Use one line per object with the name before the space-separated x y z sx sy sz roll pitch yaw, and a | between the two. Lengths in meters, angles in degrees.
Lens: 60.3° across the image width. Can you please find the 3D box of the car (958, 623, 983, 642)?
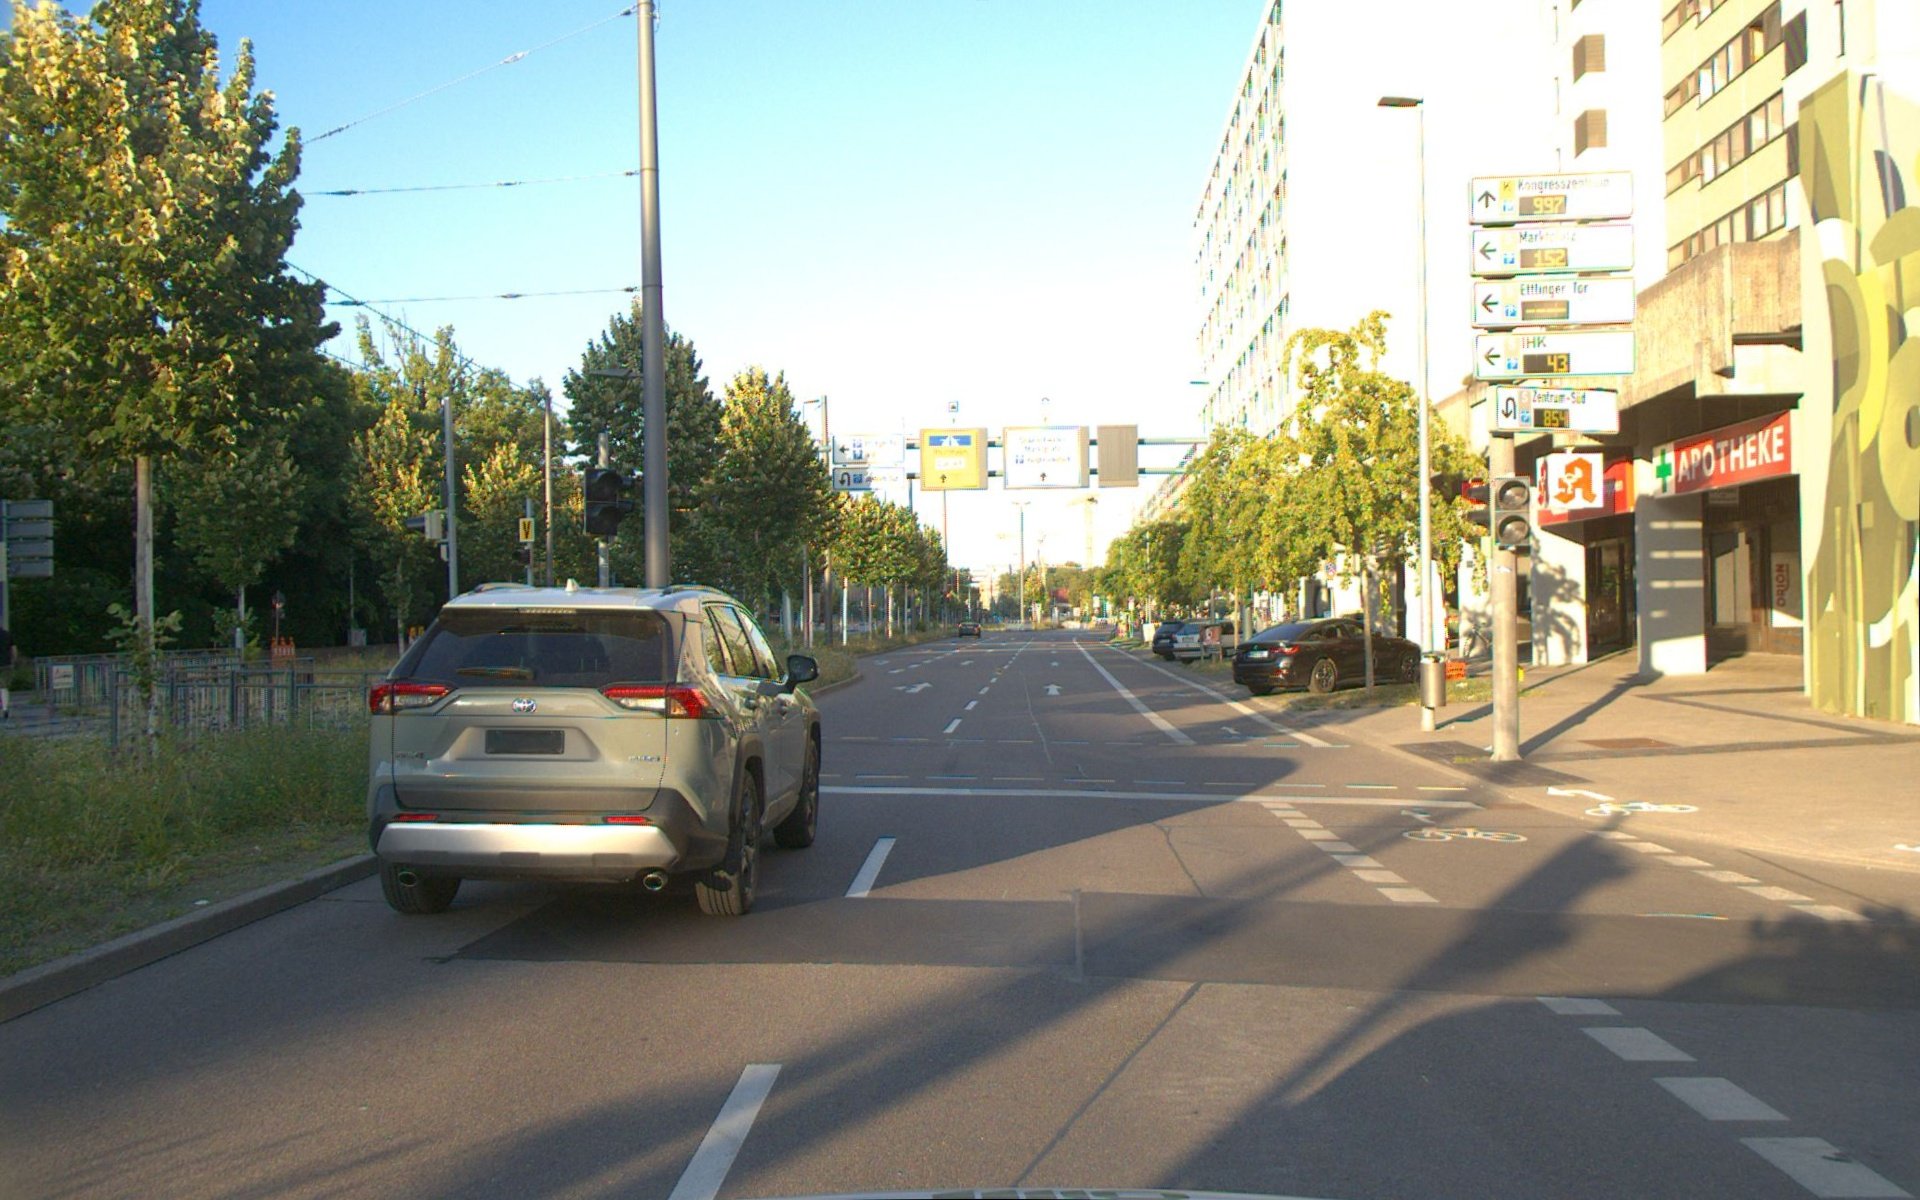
car | 0.813 2.391 123.730 1.639 1.376 4.001 0 0 3

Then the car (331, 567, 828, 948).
car | -1.880 0.719 9.564 1.796 1.702 4.283 0 0 1

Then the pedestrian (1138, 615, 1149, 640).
pedestrian | 12.817 1.923 115.336 0.640 1.732 0.689 -3 -1 3

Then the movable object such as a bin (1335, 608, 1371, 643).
movable object such as a bin | 16.109 1.027 67.823 1.157 1.346 1.267 -4 -1 1

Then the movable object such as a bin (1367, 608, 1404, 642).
movable object such as a bin | 17.456 1.019 67.874 1.157 1.321 1.305 -1 -1 1

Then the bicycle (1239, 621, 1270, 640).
bicycle | 17.165 1.759 96.363 1.665 1.003 0.551 -3 -1 0

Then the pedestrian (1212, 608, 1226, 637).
pedestrian | 16.644 1.449 106.197 0.740 1.856 0.941 -3 -1 12

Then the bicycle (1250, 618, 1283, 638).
bicycle | 16.965 1.545 91.577 1.665 1.003 0.551 -3 -1 0

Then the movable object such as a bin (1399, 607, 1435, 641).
movable object such as a bin | 18.759 0.978 67.931 1.157 1.336 1.125 -1 -1 1

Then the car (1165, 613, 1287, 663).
car | 9.003 1.292 55.907 3.946 1.441 1.729 -3 -1 -36

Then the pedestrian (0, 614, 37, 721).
pedestrian | -15.489 1.081 26.744 0.656 1.635 0.677 1 4 24

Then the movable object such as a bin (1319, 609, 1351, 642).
movable object such as a bin | 16.355 1.118 72.225 1.082 1.353 1.283 -3 -1 2

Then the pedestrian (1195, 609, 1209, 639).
pedestrian | 15.519 1.536 105.978 0.728 1.881 0.941 -4 -2 12

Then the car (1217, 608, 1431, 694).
car | 7.512 1.021 33.895 4.561 1.478 1.789 -3 0 -39

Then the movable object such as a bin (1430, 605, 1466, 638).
movable object such as a bin | 20.014 0.882 67.896 1.157 1.336 1.088 -1 -1 1

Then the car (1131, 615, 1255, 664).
car | 8.865 1.492 62.689 4.620 1.534 1.914 -3 -1 -37

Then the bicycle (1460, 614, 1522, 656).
bicycle | 14.847 0.980 46.245 1.540 1.067 0.433 -3 -1 1

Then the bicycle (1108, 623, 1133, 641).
bicycle | 11.991 2.388 123.505 1.757 1.214 0.567 -3 -1 -2

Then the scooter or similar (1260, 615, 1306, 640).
scooter or similar | 17.211 1.454 88.196 2.323 1.203 0.621 -3 -1 2

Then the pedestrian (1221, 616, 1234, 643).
pedestrian | 16.196 1.783 100.117 0.564 1.647 0.643 -3 -1 0
